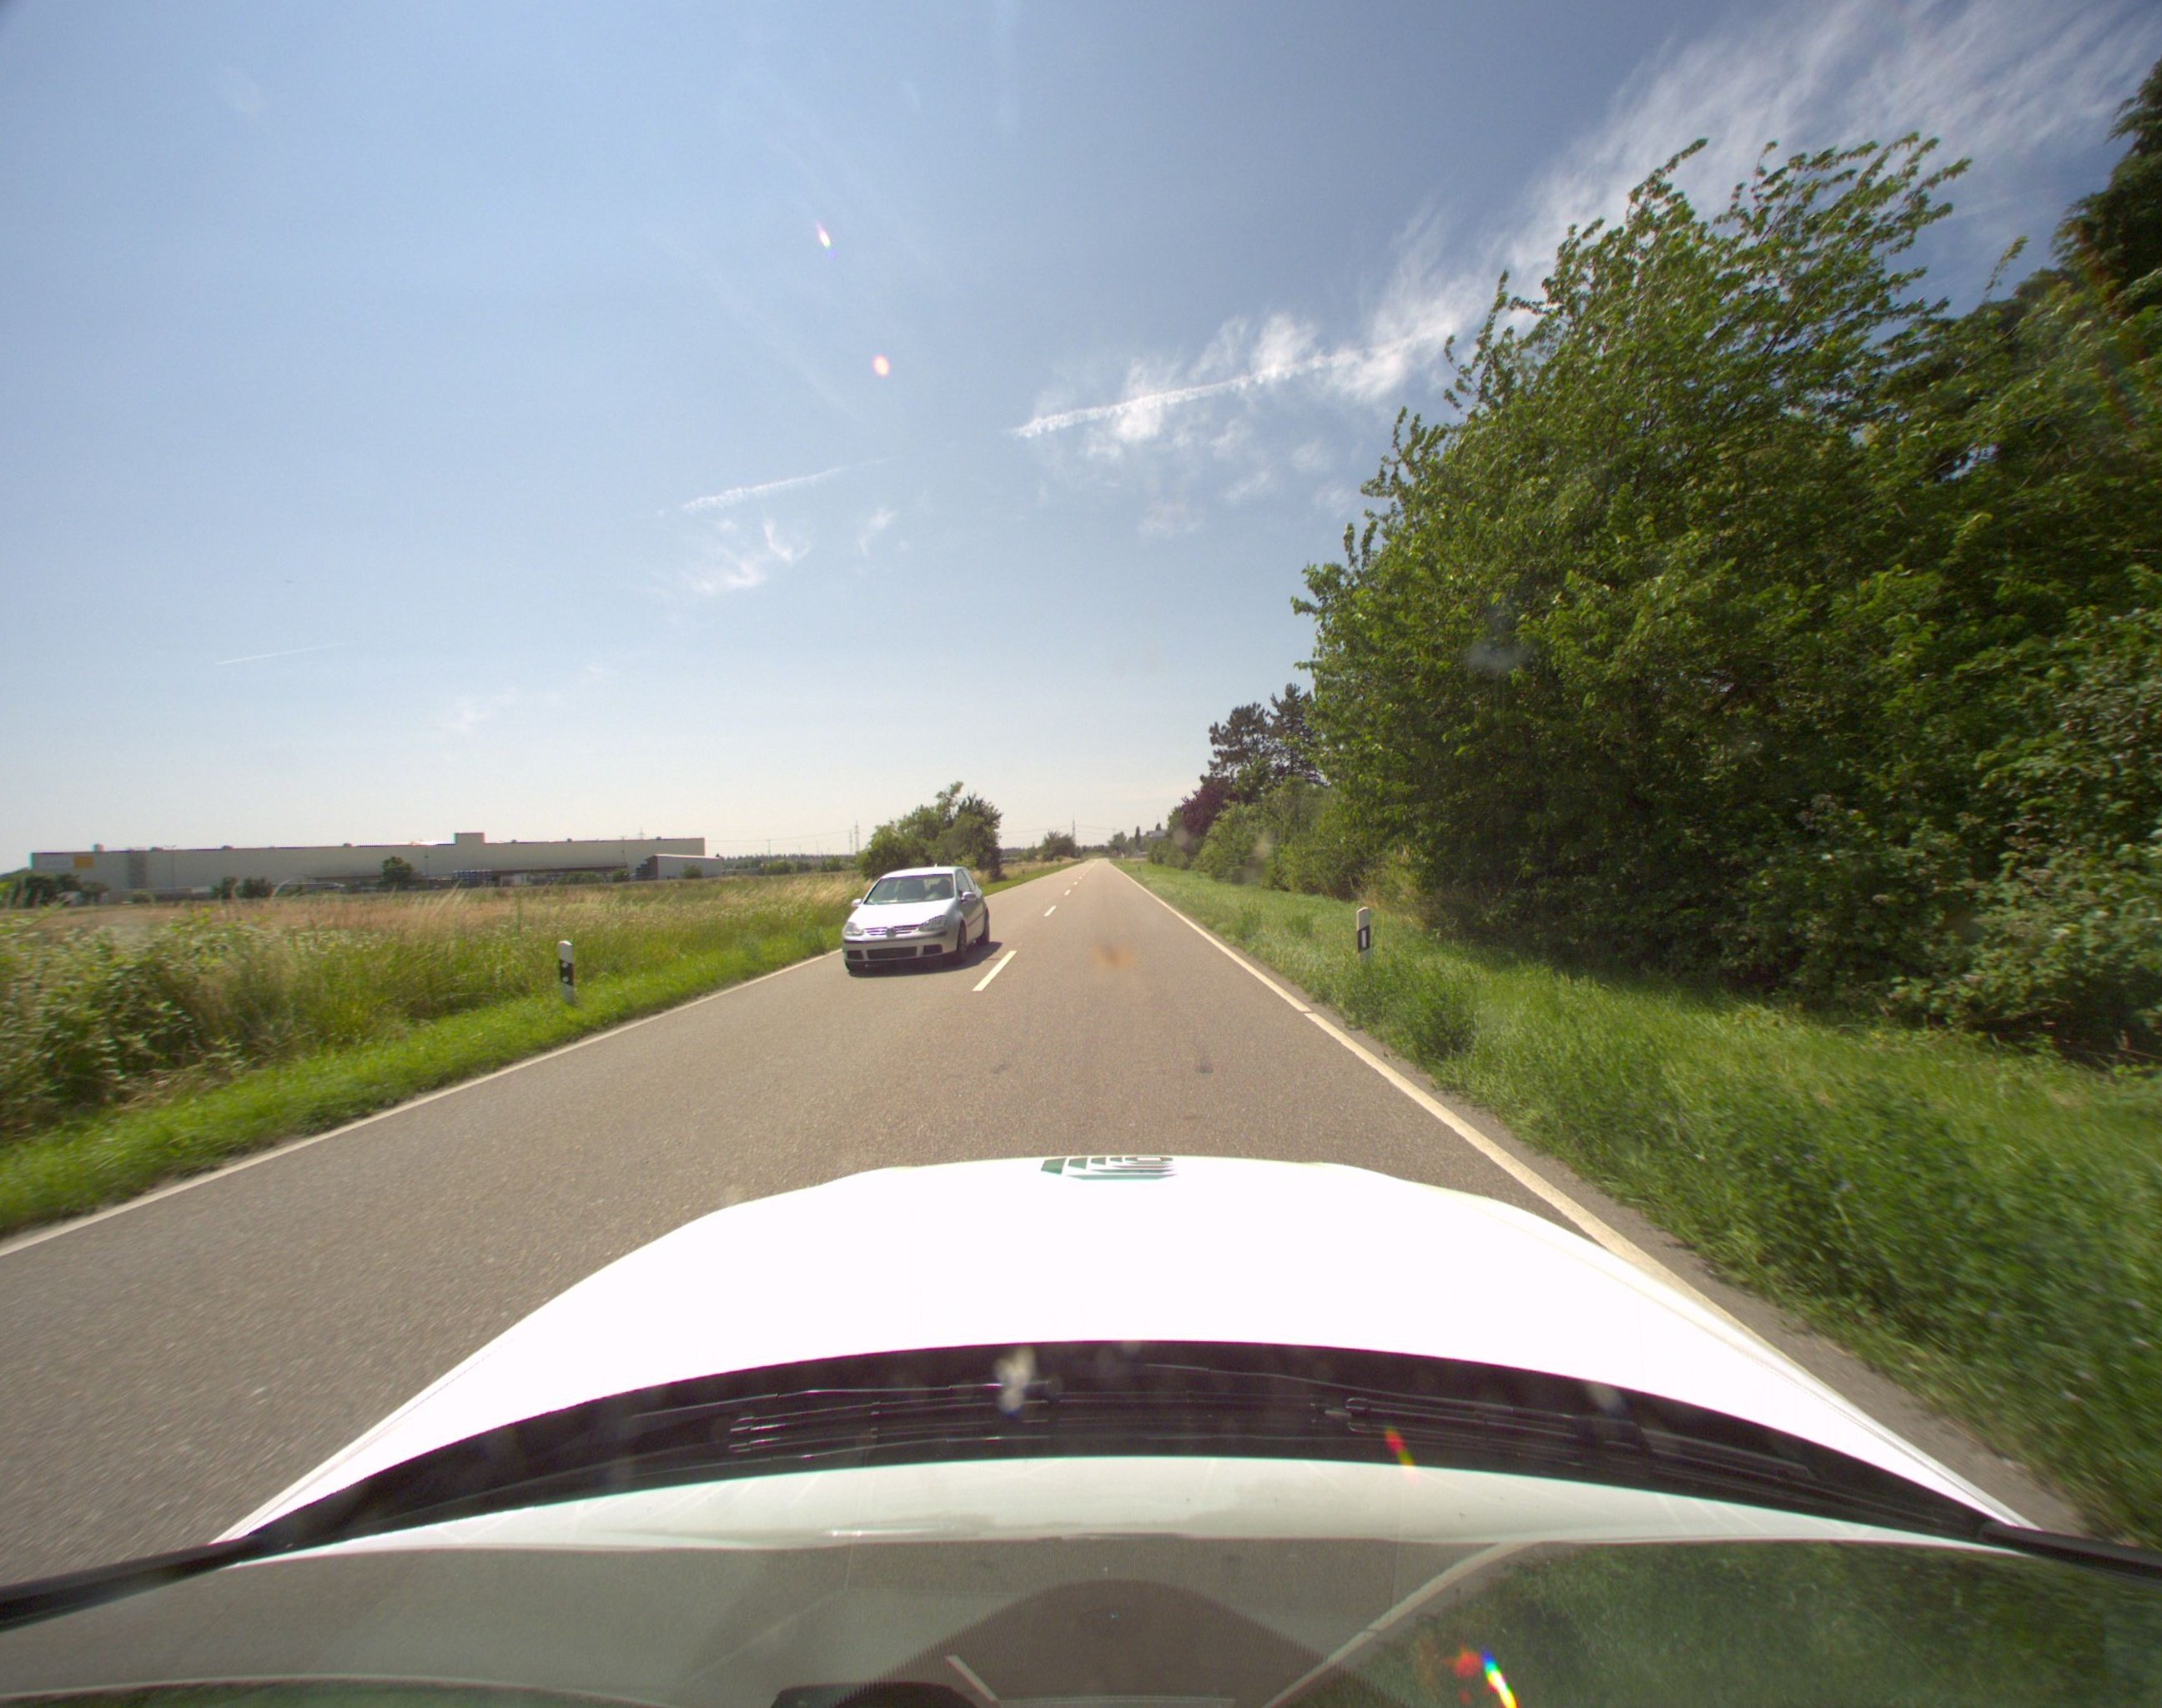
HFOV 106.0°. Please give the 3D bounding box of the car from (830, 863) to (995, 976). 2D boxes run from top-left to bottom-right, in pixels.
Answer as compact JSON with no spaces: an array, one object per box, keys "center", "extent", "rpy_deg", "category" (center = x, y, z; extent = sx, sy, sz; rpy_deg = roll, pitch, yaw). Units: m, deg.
[{"center":[-2.573,0.936,13.516],"extent":[1.673,1.421,4.422],"rpy_deg":[-4,0,1],"category":"car"}]
